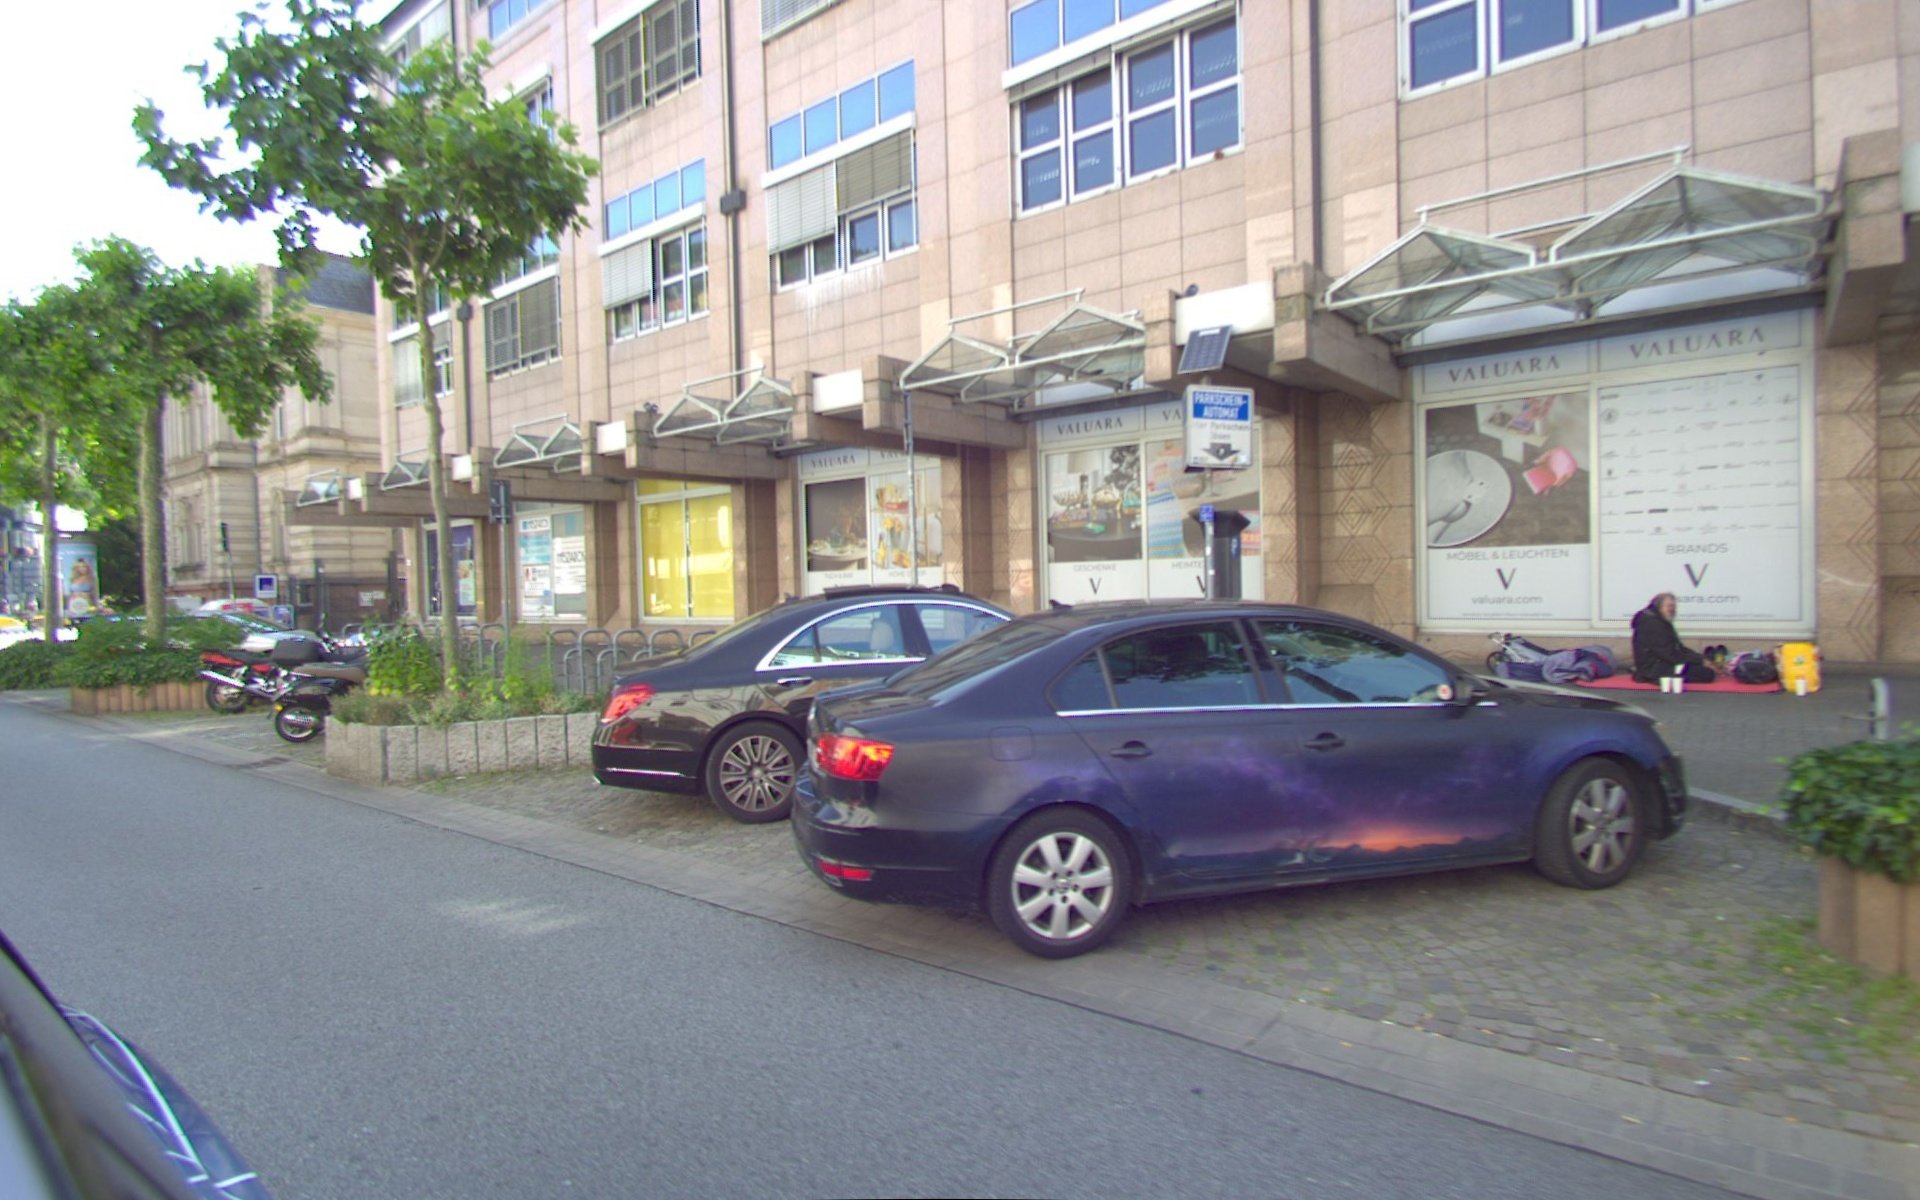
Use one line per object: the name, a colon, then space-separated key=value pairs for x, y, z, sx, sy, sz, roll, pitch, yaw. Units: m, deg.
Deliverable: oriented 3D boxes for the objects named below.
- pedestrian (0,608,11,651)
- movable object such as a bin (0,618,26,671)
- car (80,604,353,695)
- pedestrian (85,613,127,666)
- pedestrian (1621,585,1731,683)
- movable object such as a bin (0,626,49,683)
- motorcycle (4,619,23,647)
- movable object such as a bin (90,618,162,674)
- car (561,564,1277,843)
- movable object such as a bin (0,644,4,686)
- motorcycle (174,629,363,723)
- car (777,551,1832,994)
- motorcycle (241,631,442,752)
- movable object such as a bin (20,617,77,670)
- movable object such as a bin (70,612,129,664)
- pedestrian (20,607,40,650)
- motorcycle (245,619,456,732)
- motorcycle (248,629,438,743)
pedestrian: x=-38.549 y=1.195 z=40.541 sx=0.690 sy=1.707 sz=0.687 roll=1 pitch=2 yaw=42
movable object such as a bin: x=-27.786 y=1.301 z=29.186 sx=1.439 sy=1.461 sz=1.111 roll=-2 pitch=2 yaw=45
car: x=-14.972 y=0.948 z=20.624 sx=3.993 sy=1.505 sz=1.940 roll=-3 pitch=1 yaw=-10
pedestrian: x=-29.150 y=1.322 z=34.550 sx=0.746 sy=1.738 sz=0.882 roll=-1 pitch=1 yaw=32
pedestrian: x=6.615 y=0.303 z=9.348 sx=0.773 sy=0.814 sz=0.560 roll=-2 pitch=5 yaw=39
movable object such as a bin: x=-22.967 y=1.323 z=24.463 sx=0.852 sy=1.309 sz=1.265 roll=-1 pitch=1 yaw=39
motorcycle: x=-37.889 y=1.307 z=40.523 sx=0.448 sy=1.005 sz=2.164 roll=-4 pitch=3 yaw=-41
movable object such as a bin: x=-21.694 y=1.194 z=26.322 sx=1.078 sy=1.309 sz=1.197 roll=-3 pitch=2 yaw=39
car: x=-0.303 y=0.627 z=7.661 sx=4.682 sy=1.544 sz=1.994 roll=-3 pitch=1 yaw=-8
movable object such as a bin: x=-22.199 y=1.490 z=22.974 sx=0.495 sy=0.946 sz=0.553 roll=-2 pitch=-1 yaw=13
motorcycle: x=-10.229 y=1.099 z=15.090 sx=2.142 sy=1.178 sz=0.923 roll=-3 pitch=1 yaw=-23
car: x=1.510 y=0.622 z=5.182 sx=4.719 sy=1.433 sz=1.887 roll=-4 pitch=1 yaw=-11
motorcycle: x=-7.099 y=1.008 z=11.718 sx=1.884 sy=1.178 sz=0.762 roll=-3 pitch=1 yaw=-30
movable object such as a bin: x=-27.006 y=1.274 z=29.985 sx=1.439 sy=1.461 sz=1.111 roll=-2 pitch=2 yaw=45
movable object such as a bin: x=-26.115 y=1.147 z=30.718 sx=1.364 sy=1.461 sz=1.195 roll=-2 pitch=2 yaw=45
pedestrian: x=-37.558 y=1.142 z=40.867 sx=0.542 sy=1.677 sz=0.938 roll=-2 pitch=2 yaw=-42
motorcycle: x=-8.211 y=0.963 z=13.759 sx=2.313 sy=1.277 sz=1.298 roll=-3 pitch=1 yaw=-30
motorcycle: x=-7.481 y=1.002 z=12.367 sx=1.884 sy=1.178 sz=0.730 roll=-3 pitch=1 yaw=-30
